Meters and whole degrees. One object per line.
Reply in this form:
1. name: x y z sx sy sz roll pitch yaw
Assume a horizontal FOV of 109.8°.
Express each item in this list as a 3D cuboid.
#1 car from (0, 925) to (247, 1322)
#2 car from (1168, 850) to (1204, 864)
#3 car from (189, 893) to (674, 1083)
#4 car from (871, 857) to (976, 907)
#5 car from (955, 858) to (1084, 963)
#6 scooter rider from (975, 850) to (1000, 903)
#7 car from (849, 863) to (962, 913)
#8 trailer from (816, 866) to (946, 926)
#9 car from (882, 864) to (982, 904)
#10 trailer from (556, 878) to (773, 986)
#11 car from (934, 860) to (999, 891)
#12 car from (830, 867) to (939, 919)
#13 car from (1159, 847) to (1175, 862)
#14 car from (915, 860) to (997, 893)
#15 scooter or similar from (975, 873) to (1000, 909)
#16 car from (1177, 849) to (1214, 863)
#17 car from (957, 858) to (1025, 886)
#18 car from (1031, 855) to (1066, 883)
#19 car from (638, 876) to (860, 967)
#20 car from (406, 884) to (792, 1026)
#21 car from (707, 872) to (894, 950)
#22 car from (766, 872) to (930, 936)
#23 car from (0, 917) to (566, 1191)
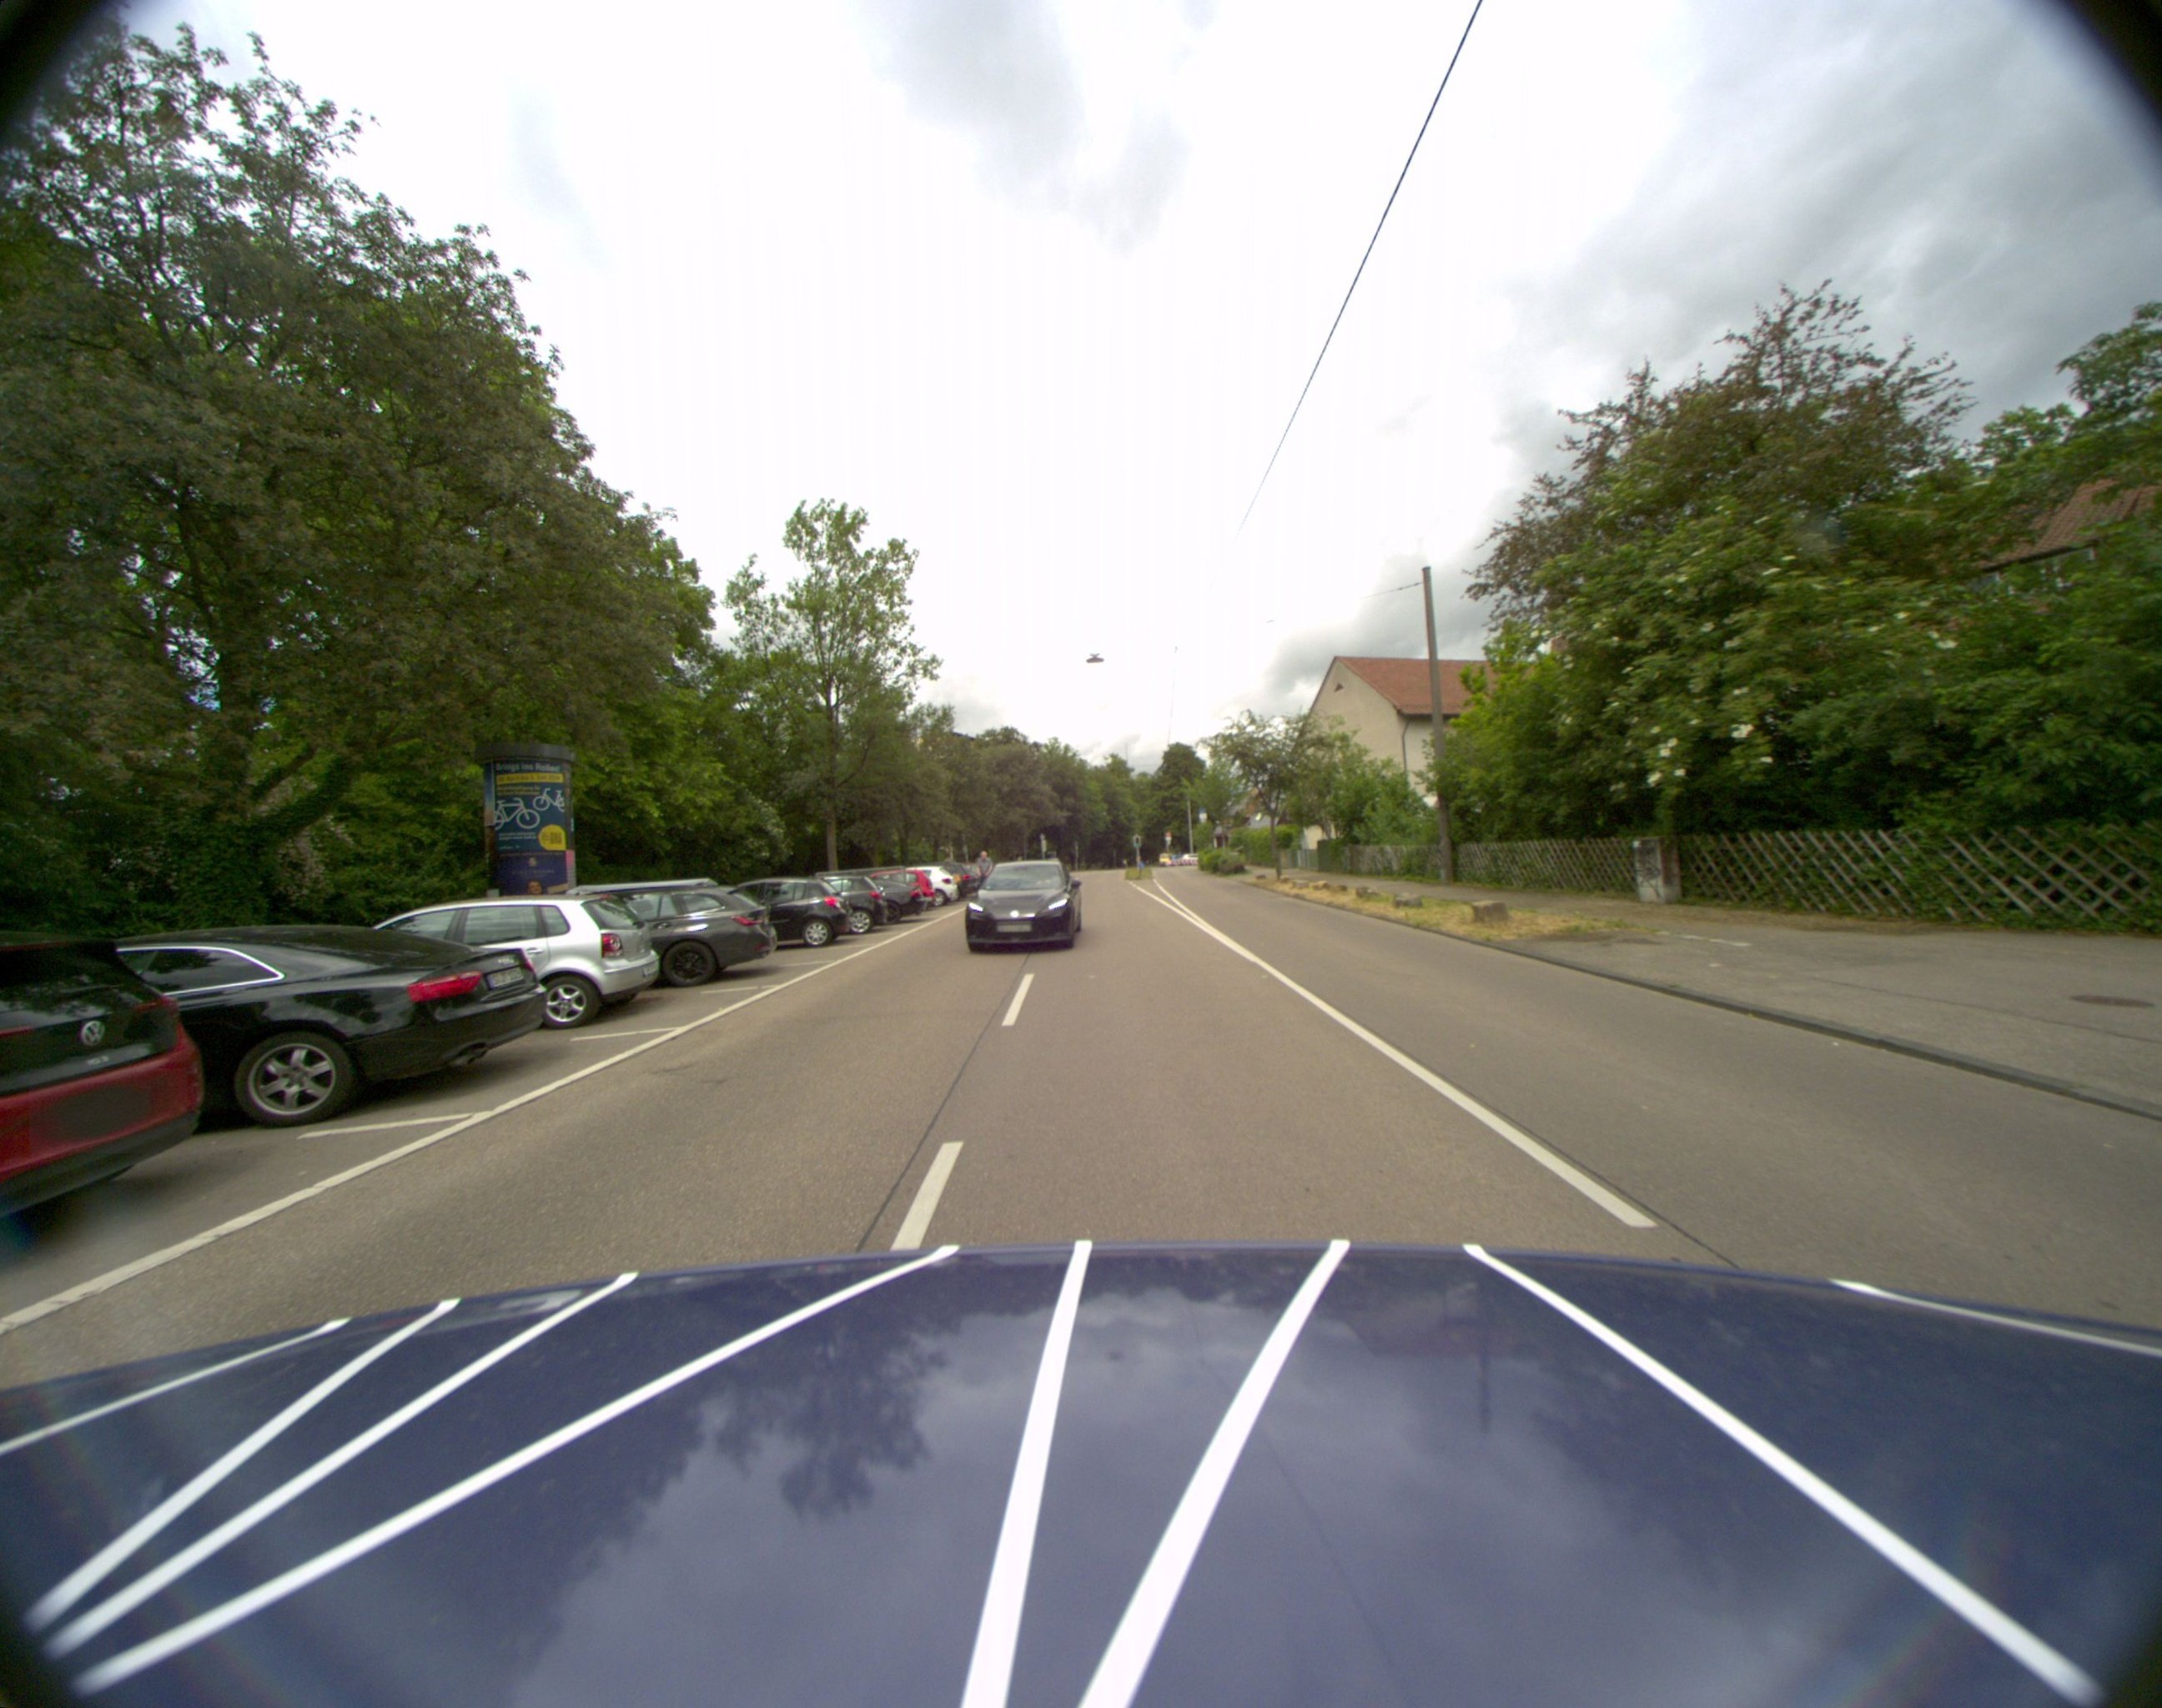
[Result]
1. car: -6.503 1.260 2.887 4.087 1.507 1.731 -3 1 -19
2. car: 12.977 0.389 94.095 4.175 1.537 1.846 -3 -1 0
3. car: -6.742 1.316 8.358 3.623 1.437 1.632 -4 0 -15
4. car: -6.412 1.108 31.137 3.999 1.715 1.679 -4 1 -10
5. car: -0.963 0.908 14.198 1.803 1.541 4.299 -3 0 2
6. scooter rider: -3.216 0.755 26.111 0.683 1.720 1.196 -4 0 -4
7. car: -6.556 1.248 28.626 3.831 1.520 1.605 -4 1 -3
8. trailer: -6.170 1.268 23.776 3.701 1.526 1.644 -4 0 -10
9. car: -6.590 1.300 33.805 4.173 1.398 1.696 -4 1 -10
10. trailer: -7.192 1.308 13.367 2.996 1.533 1.302 -4 0 -12
11. car: -6.610 1.205 43.637 3.535 1.467 1.591 -4 0 -11
12. car: -6.662 1.308 26.098 3.436 1.437 1.558 -4 1 -11
13. car: 11.502 0.075 102.367 1.920 1.977 4.802 -3 -1 5
14. car: -6.699 1.210 40.960 4.232 1.455 1.634 -4 0 -8
15. scooter or similar: -3.208 1.249 26.166 0.683 1.132 1.459 -4 0 -4
16. car: 13.826 0.263 91.851 3.904 1.463 1.845 -3 -1 -7
17. car: -5.781 1.107 48.670 4.149 1.468 1.575 -4 1 -11
18. car: -1.947 0.868 46.750 1.814 1.520 4.000 -3 1 1
19. car: -6.707 1.327 15.731 3.853 1.447 1.633 -4 0 -10
20. car: -6.618 1.332 11.009 4.361 1.437 1.632 -4 0 -17
21. car: -6.616 1.314 18.315 3.925 1.478 1.616 -4 0 -12
22. car: -6.275 1.325 20.844 4.050 1.320 1.558 -4 1 -11
23. car: -6.592 1.371 5.493 4.328 1.333 1.732 -4 1 -13
